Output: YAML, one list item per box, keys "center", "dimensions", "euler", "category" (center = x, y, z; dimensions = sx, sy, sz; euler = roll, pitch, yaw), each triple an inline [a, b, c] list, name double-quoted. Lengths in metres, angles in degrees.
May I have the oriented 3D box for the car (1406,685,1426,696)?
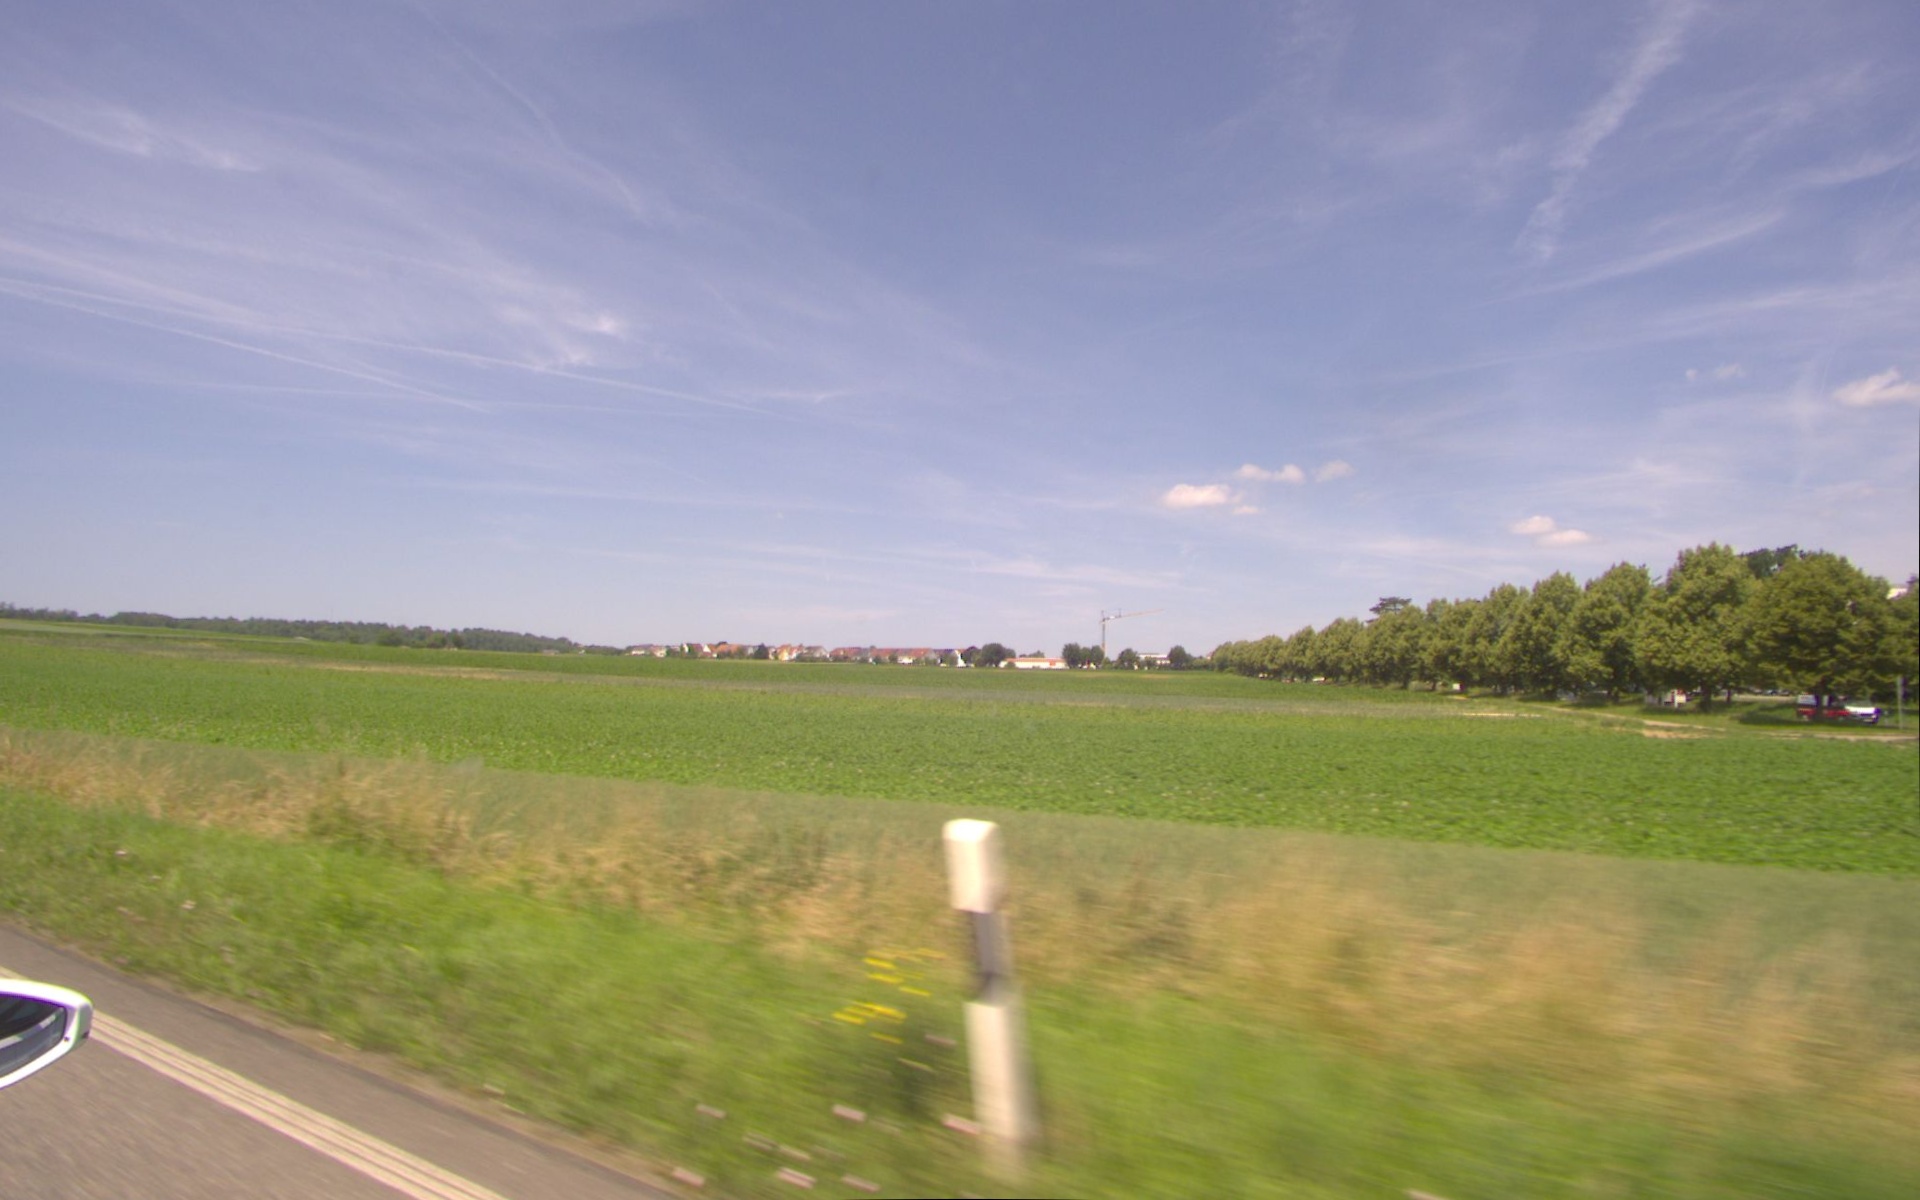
- center: [75.853, 15.072, 166.703]
  dimensions: [1.961, 1.668, 4.005]
  euler: [-1, -5, 8]
  category: "car"

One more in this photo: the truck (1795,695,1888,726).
- center: [59.908, 7.482, 68.206]
  dimensions: [1.766, 1.998, 5.483]
  euler: [0, -5, 5]
  category: "truck"
